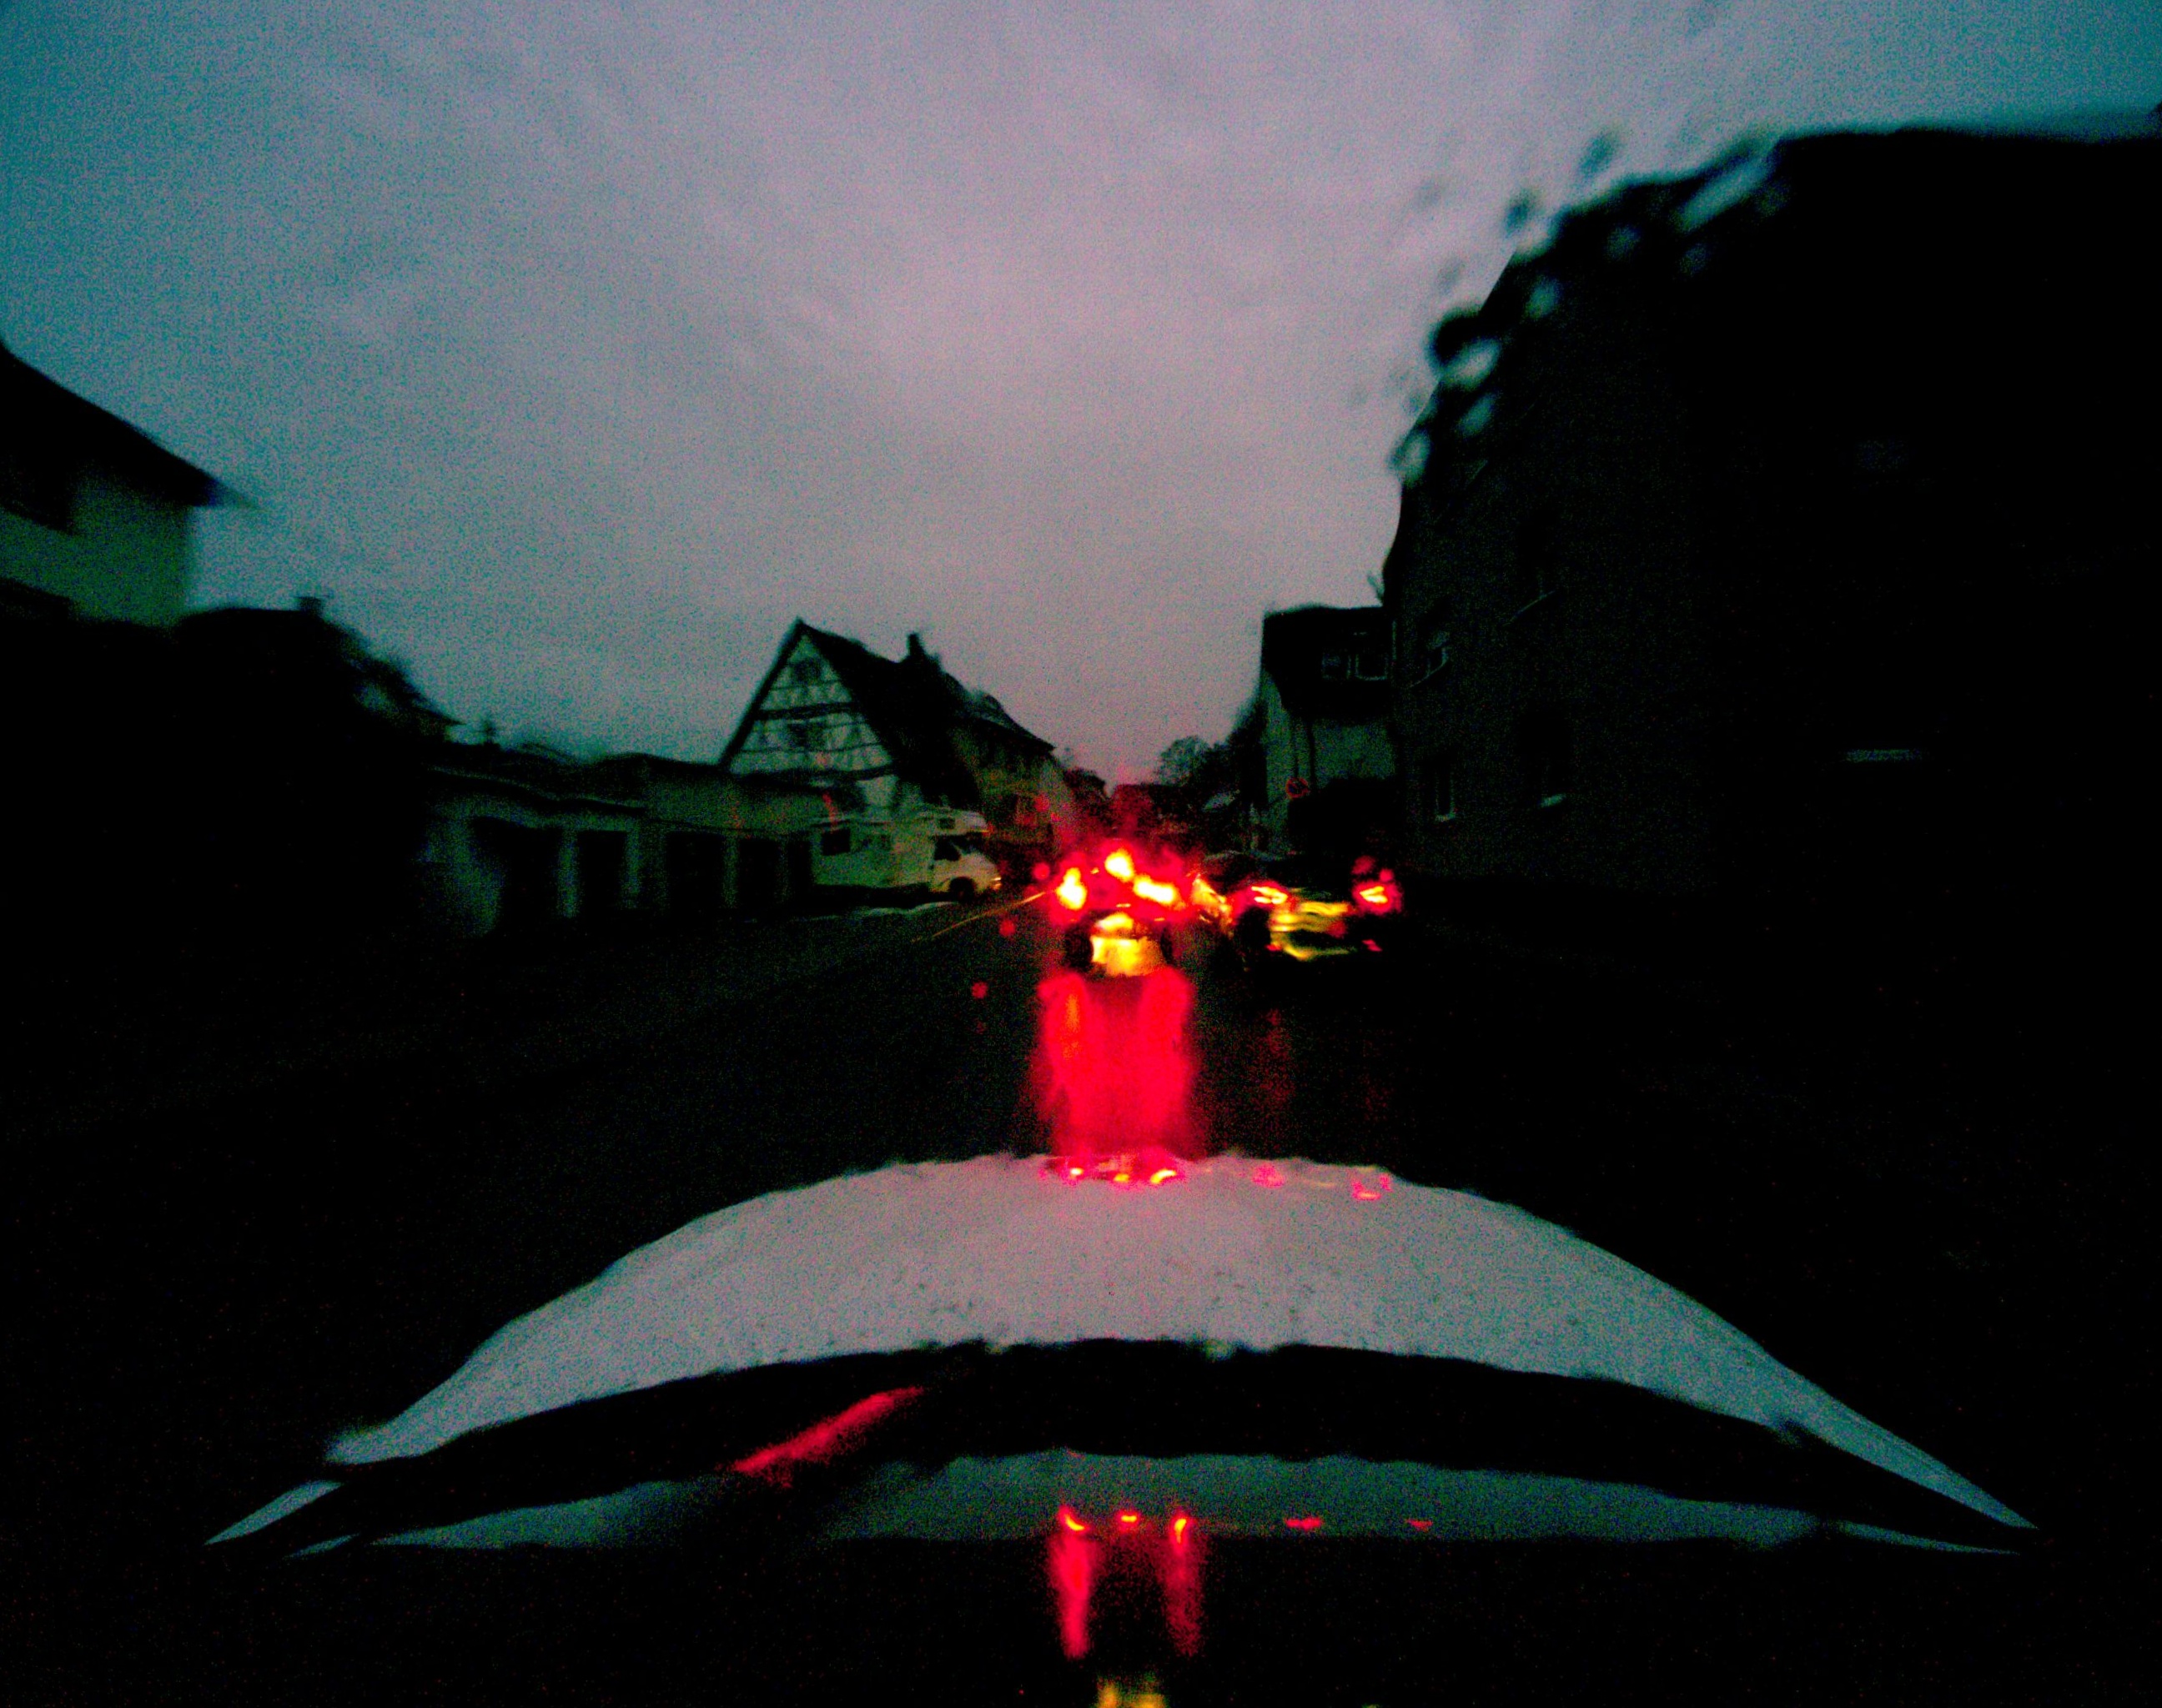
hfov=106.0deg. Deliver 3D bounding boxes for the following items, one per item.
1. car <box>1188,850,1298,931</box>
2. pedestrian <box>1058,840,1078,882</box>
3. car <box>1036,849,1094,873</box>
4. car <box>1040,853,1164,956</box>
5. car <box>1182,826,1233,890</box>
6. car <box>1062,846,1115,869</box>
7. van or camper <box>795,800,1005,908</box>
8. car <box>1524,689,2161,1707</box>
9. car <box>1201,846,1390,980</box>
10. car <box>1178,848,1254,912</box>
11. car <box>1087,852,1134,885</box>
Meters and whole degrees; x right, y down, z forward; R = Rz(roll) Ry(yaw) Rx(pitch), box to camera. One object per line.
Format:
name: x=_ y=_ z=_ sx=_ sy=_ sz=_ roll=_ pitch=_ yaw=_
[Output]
car: x=3.098 y=0.643 z=16.214 sx=1.672 sy=1.395 sz=3.756 roll=-1 pitch=0 yaw=4
pedestrian: x=-0.618 y=0.336 z=39.727 sx=0.869 sy=2.013 sz=0.795 roll=-1 pitch=0 yaw=4
car: x=-1.010 y=0.475 z=53.132 sx=3.485 sy=1.507 sz=1.697 roll=-1 pitch=0 yaw=11
car: x=0.437 y=0.725 z=13.826 sx=1.787 sy=1.476 sz=4.004 roll=0 pitch=0 yaw=4
car: x=5.030 y=0.150 z=32.724 sx=1.805 sy=2.413 sz=3.758 roll=-1 pitch=0 yaw=6
car: x=0.536 y=0.219 z=55.768 sx=3.490 sy=1.507 sz=1.695 roll=-1 pitch=0 yaw=5
van or camper: x=-5.820 y=0.022 z=26.634 sx=6.024 sy=2.955 sz=2.412 roll=-4 pitch=0 yaw=9
car: x=2.288 y=0.607 z=0.496 sx=1.840 sy=1.637 sz=4.338 roll=0 pitch=0 yaw=2
car: x=2.769 y=0.673 z=11.407 sx=1.790 sy=1.534 sz=4.004 roll=-1 pitch=0 yaw=3
car: x=3.474 y=0.623 z=21.520 sx=1.716 sy=1.507 sz=3.757 roll=-1 pitch=0 yaw=6
car: x=1.421 y=0.627 z=37.586 sx=1.859 sy=1.402 sz=4.373 roll=-1 pitch=0 yaw=6
